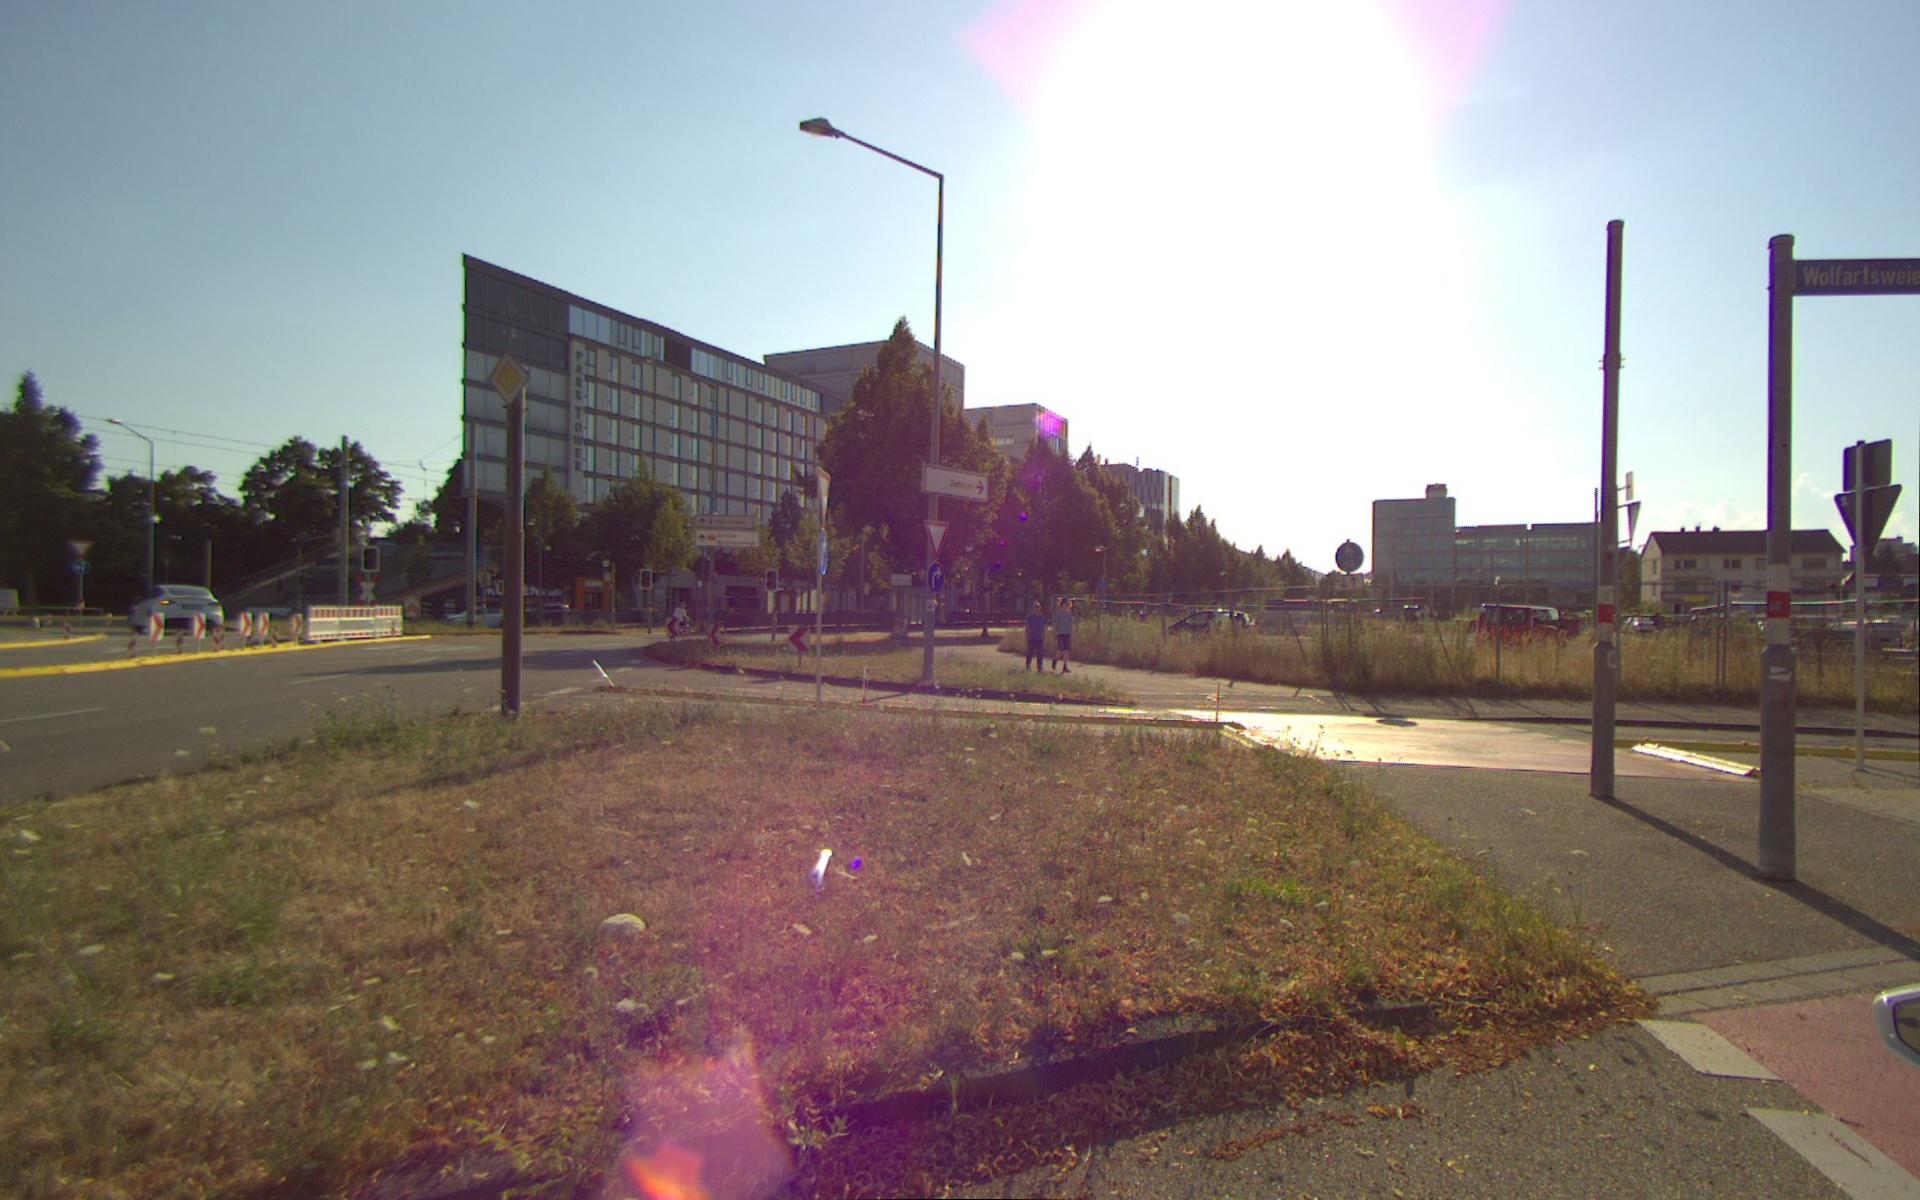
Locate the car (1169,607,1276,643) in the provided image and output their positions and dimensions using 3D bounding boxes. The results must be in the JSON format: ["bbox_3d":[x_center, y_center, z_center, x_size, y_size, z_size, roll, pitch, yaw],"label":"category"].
[{"bbox_3d":[10.923,1.009,41.698,4.160,1.381,2.000,1,0,18],"label":"car"}]

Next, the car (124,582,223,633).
[{"bbox_3d":[-26.567,0.240,33.898,3.943,1.596,1.989,1,0,42],"label":"car"}]

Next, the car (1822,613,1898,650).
[{"bbox_3d":[50.102,1.722,56.005,1.832,1.974,3.999,1,0,22],"label":"car"}]

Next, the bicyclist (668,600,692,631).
[{"bbox_3d":[-12.967,0.714,46.484,0.853,1.429,0.629,2,1,18],"label":"bicyclist"}]

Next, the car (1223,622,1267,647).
[{"bbox_3d":[15.031,1.792,52.890,1.308,1.182,3.927,1,0,30],"label":"car"}]

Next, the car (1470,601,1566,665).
[{"bbox_3d":[19.750,1.115,35.449,1.970,2.040,5.287,1,0,40],"label":"car"}]

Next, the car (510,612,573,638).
[{"bbox_3d":[-26.473,1.581,63.594,1.538,1.595,3.326,1,0,36],"label":"car"}]

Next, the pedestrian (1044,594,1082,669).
[{"bbox_3d":[2.524,0.766,24.653,0.746,1.799,0.770,1,0,-9],"label":"pedestrian"}]

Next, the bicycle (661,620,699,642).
[{"bbox_3d":[-12.933,1.429,46.442,0.834,0.941,1.719,1,0,18],"label":"bicycle"}]

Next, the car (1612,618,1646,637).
[{"bbox_3d":[68.793,2.782,103.375,2.112,1.862,4.359,1,0,24],"label":"car"}]

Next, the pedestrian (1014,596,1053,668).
[{"bbox_3d":[1.791,0.767,24.522,0.771,1.731,0.811,1,0,-8],"label":"pedestrian"}]

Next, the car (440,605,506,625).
[{"bbox_3d":[-30.824,0.943,63.654,1.629,1.256,3.498,1,0,29],"label":"car"}]
